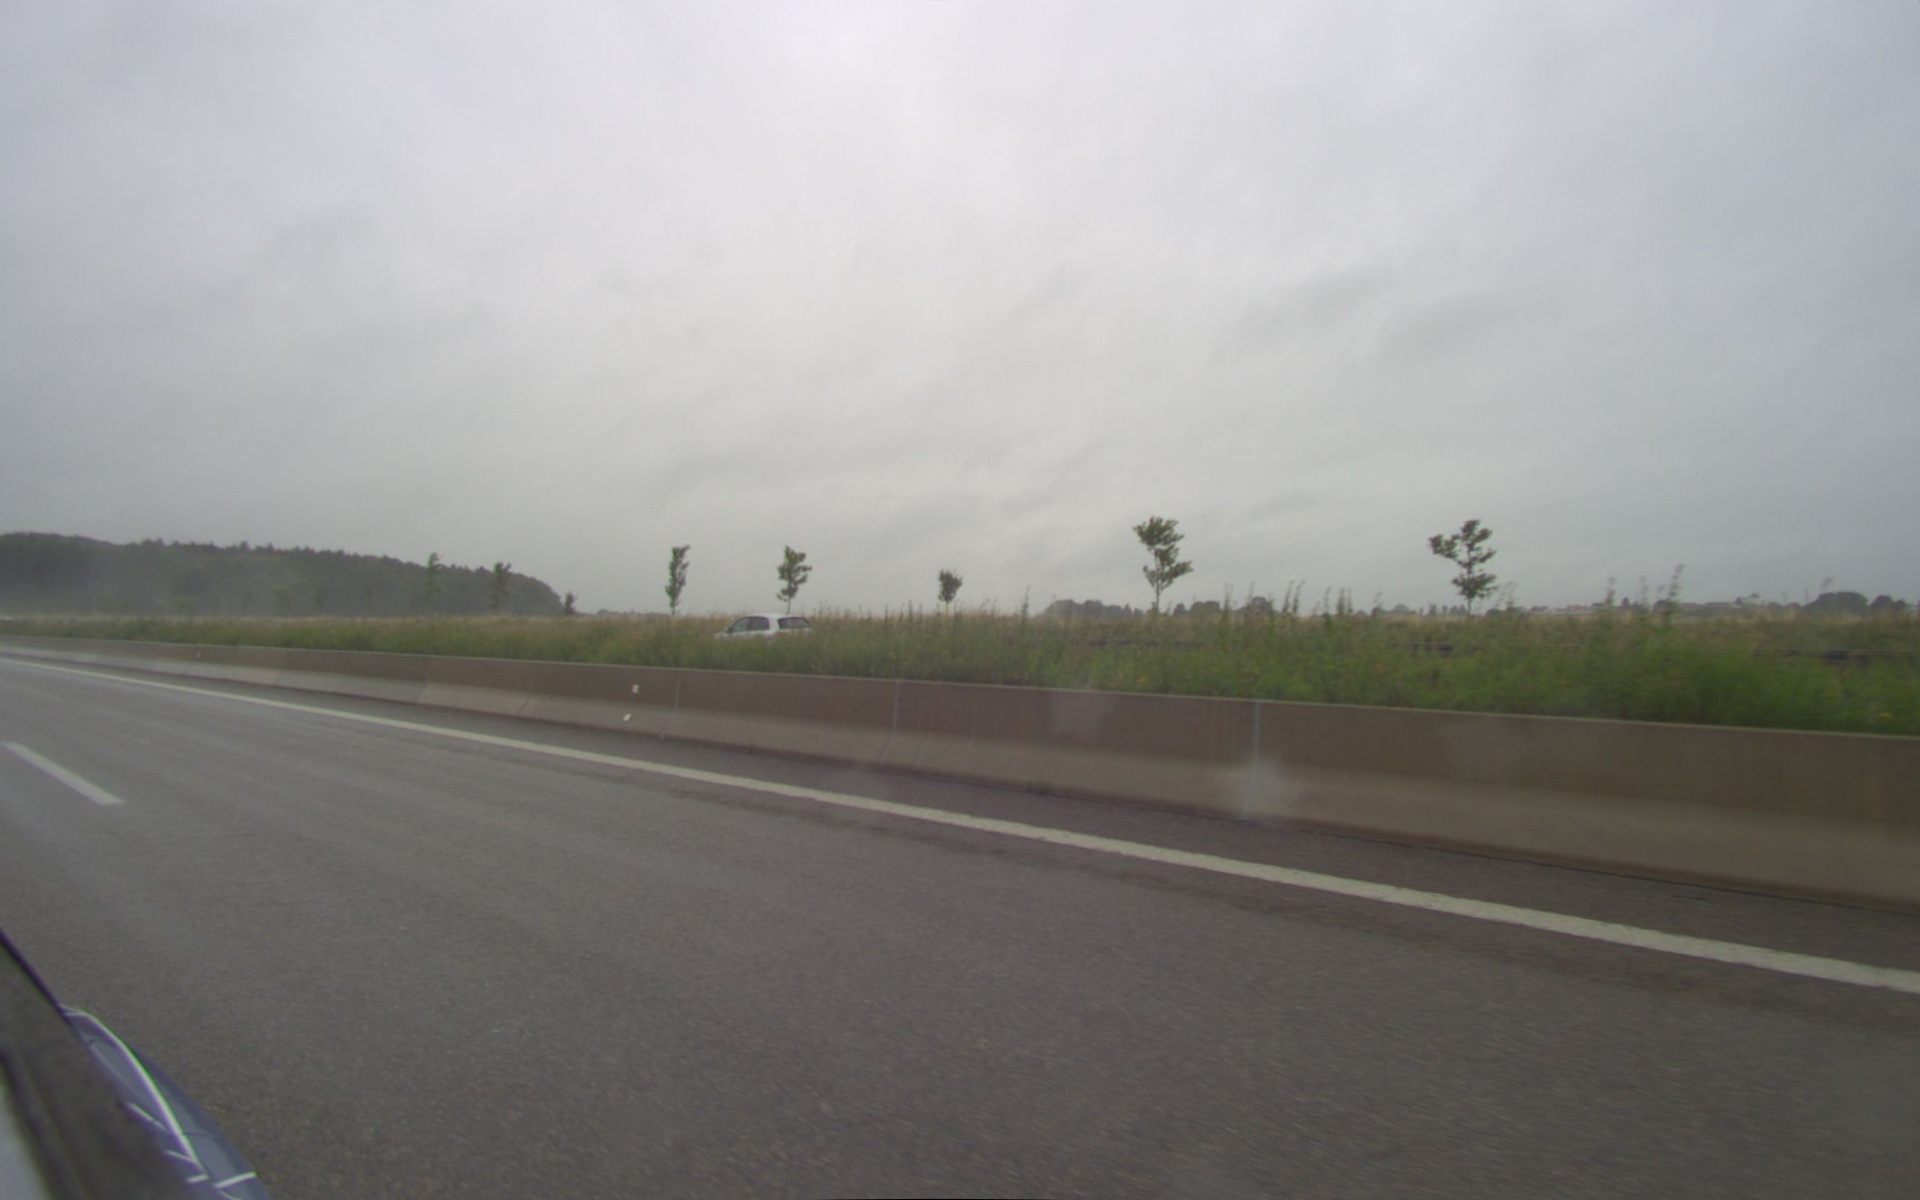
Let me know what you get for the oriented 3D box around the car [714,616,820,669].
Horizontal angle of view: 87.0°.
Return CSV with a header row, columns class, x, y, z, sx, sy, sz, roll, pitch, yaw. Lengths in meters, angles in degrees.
class,x,y,z,sx,sy,sz,roll,pitch,yaw
car,-5.603,1.197,29.268,3.204,1.392,1.345,0,0,41
